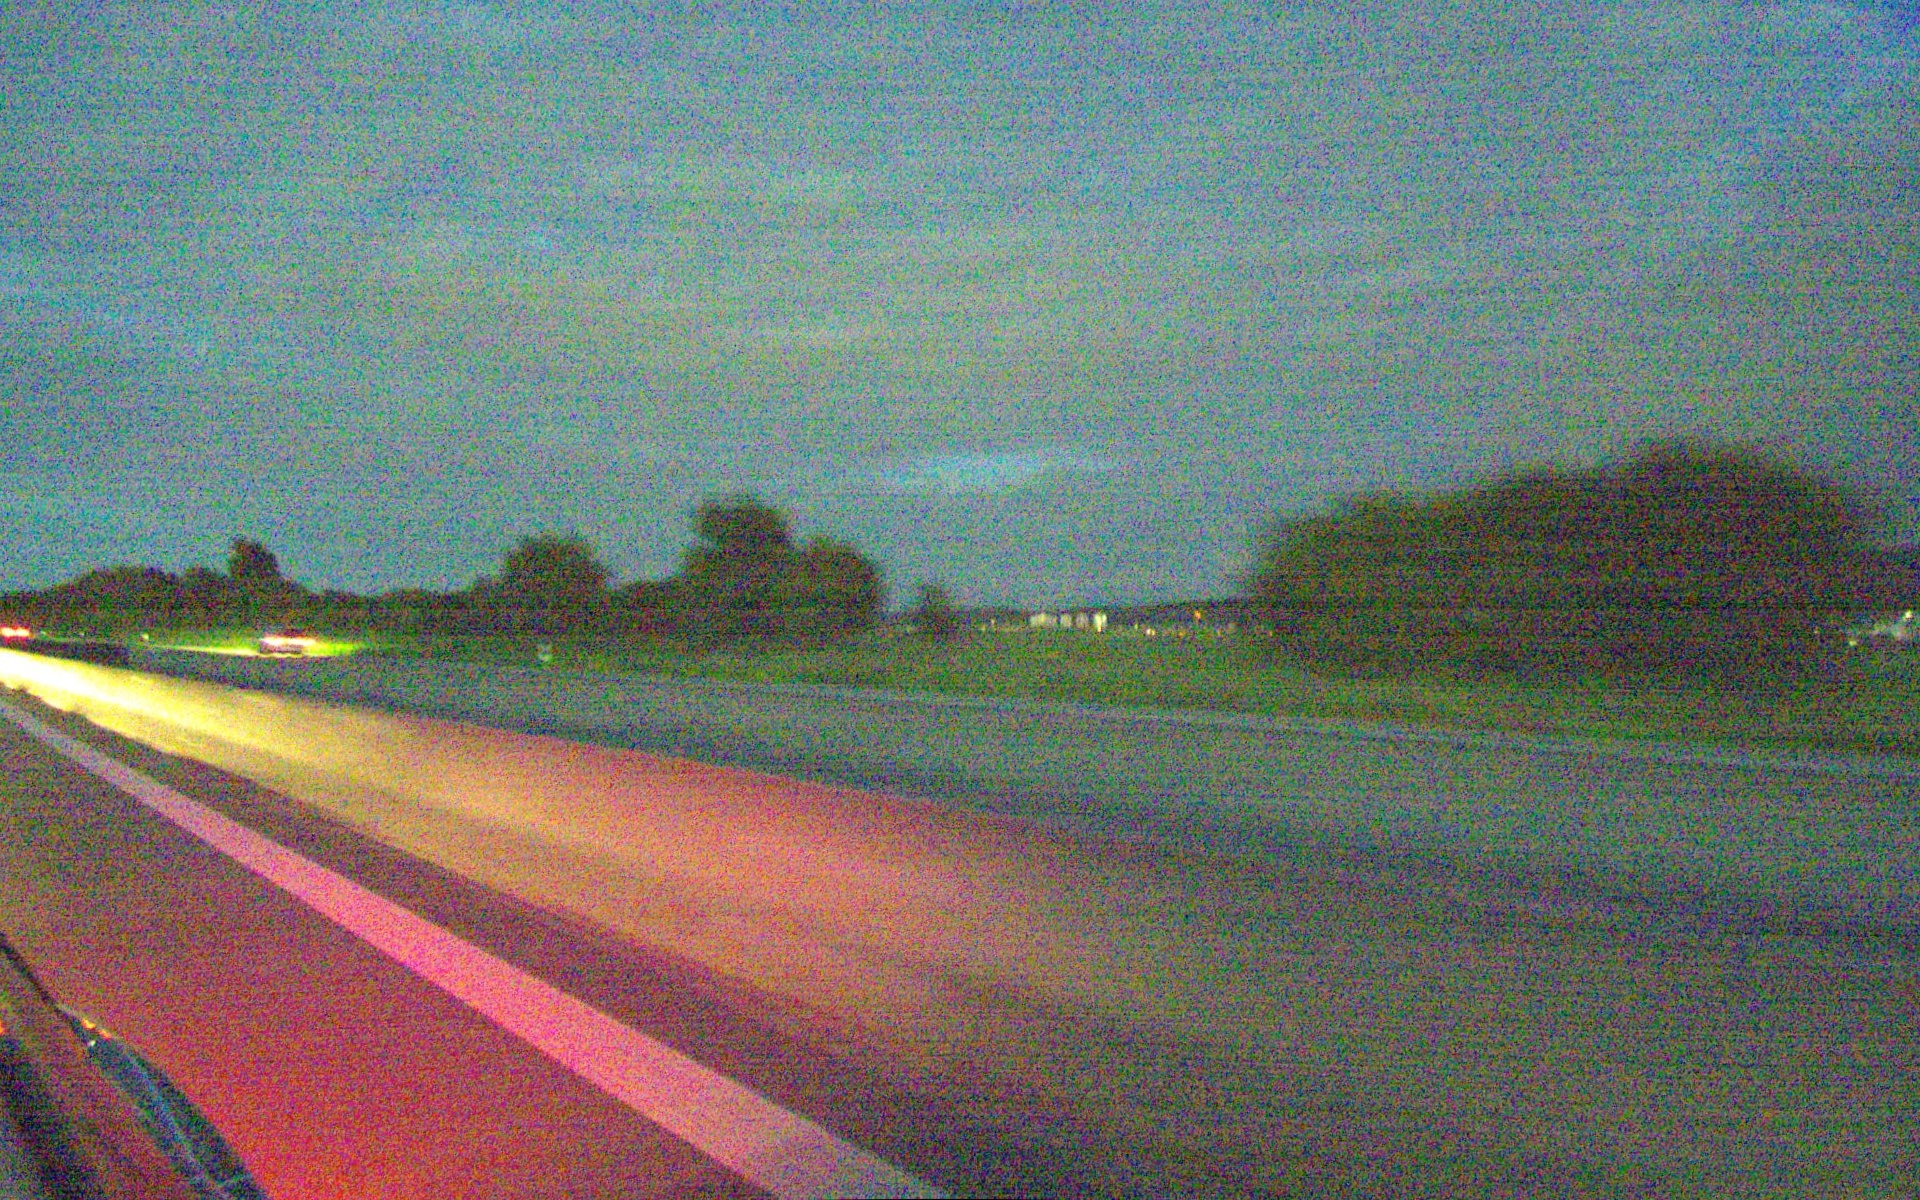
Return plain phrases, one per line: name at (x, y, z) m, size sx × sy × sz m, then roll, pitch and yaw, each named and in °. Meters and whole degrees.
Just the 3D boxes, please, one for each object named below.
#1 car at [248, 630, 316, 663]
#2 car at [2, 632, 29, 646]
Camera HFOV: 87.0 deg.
car at (-37.725, 2.554, 56.255) m, size 4.775 × 1.733 × 2.022 m, roll -2°, pitch -4°, yaw 43°
car at (-110.883, 4.555, 118.778) m, size 5.298 × 1.655 × 1.882 m, roll -2°, pitch -3°, yaw 43°
